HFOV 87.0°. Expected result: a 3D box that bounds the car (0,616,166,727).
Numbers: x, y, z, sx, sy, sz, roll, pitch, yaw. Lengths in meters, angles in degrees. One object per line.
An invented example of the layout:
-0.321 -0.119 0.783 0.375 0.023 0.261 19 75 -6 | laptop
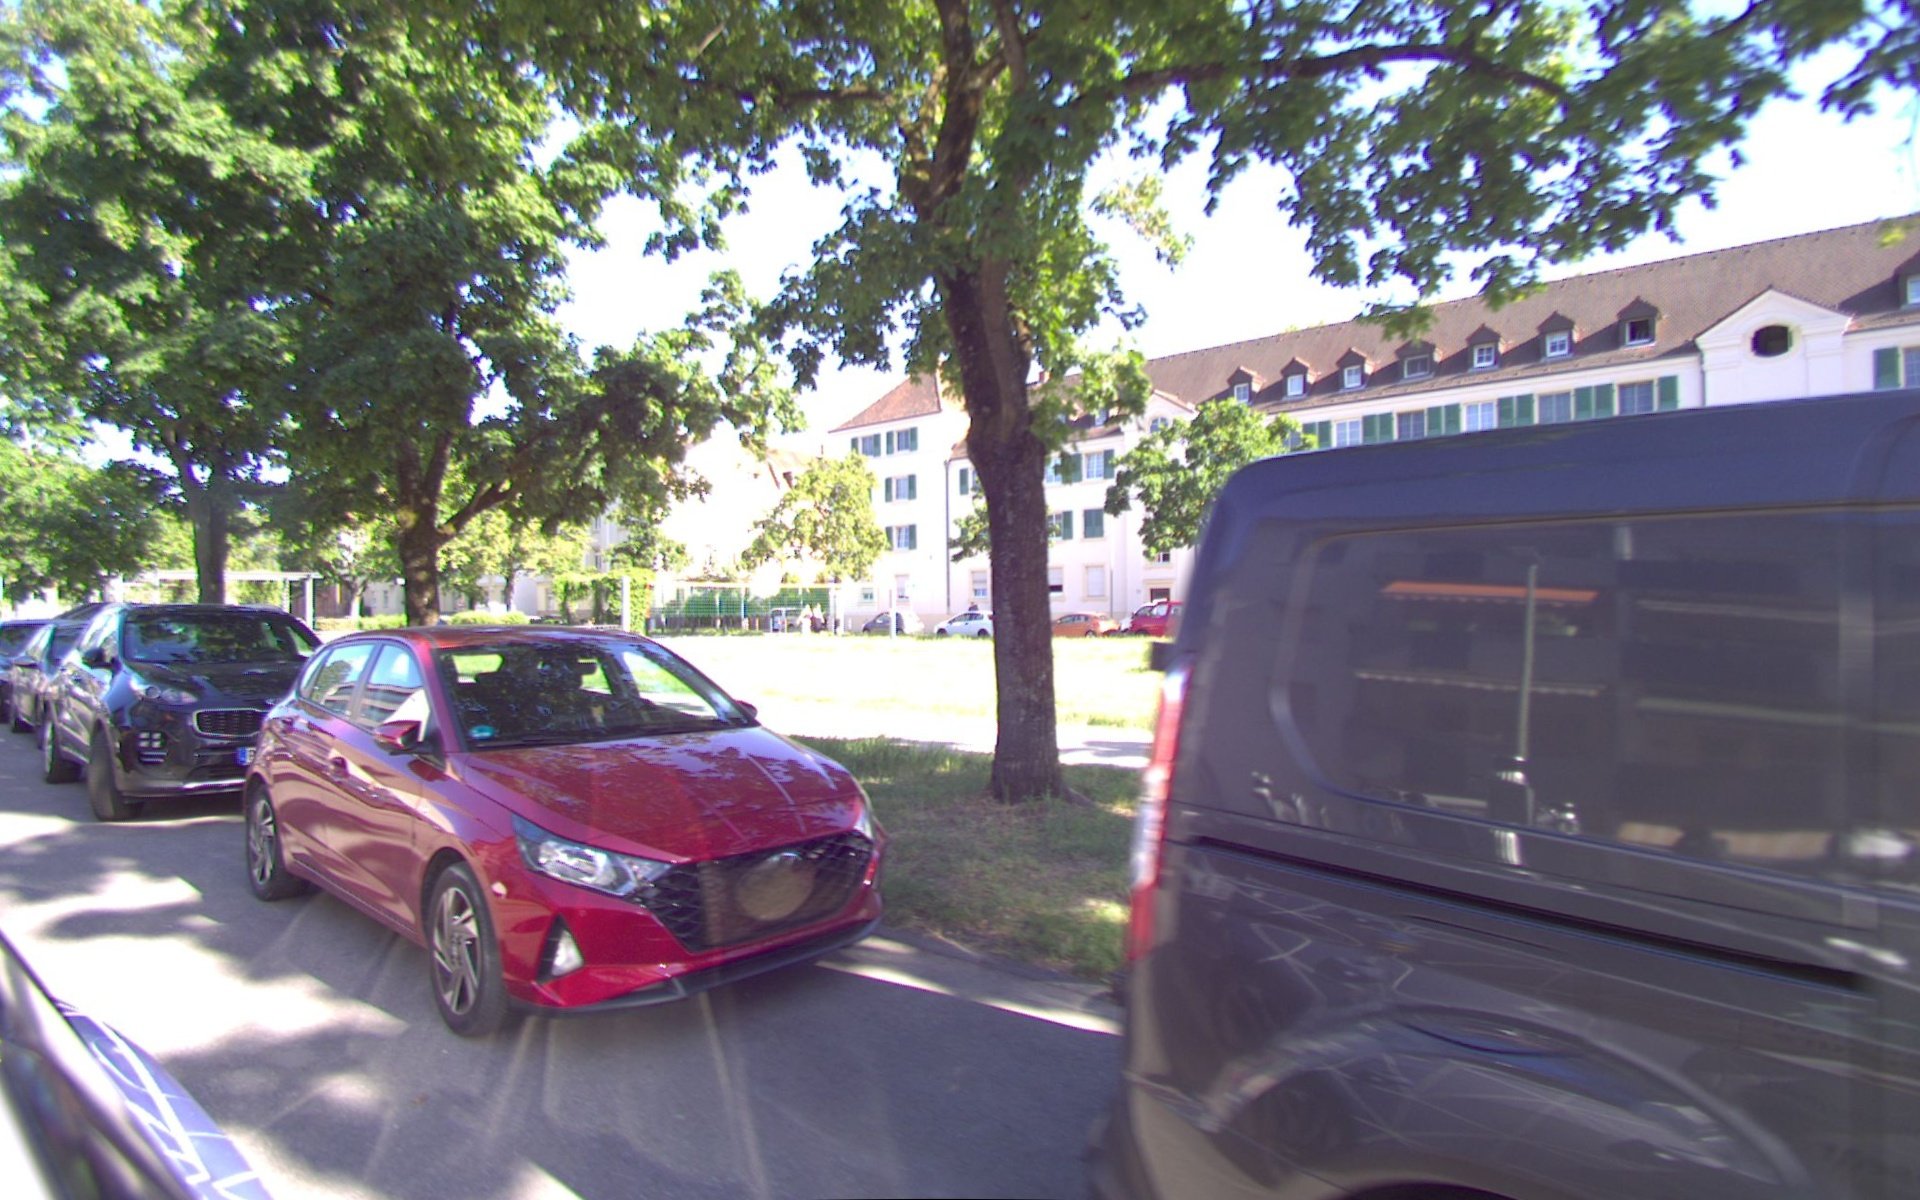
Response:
-14.725 1.060 16.233 5.151 1.528 1.974 -1 -2 39 | car

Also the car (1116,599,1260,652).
9.154 1.012 40.864 5.255 1.999 2.197 -1 -1 41 | car

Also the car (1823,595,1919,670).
29.622 0.959 30.589 5.252 2.233 2.506 -1 -1 39 | car

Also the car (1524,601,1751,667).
20.593 1.004 30.932 5.452 1.834 2.424 -1 -1 42 | car

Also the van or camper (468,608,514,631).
-42.964 1.733 92.711 4.372 2.029 2.244 -1 0 41 | van or camper

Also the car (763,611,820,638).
-12.630 1.824 76.019 2.043 1.970 3.762 -2 -1 42 | car

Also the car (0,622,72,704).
-19.111 1.174 19.798 4.963 1.463 1.817 -1 -1 39 | car

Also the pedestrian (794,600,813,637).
-7.395 0.875 47.862 0.750 1.698 0.537 -2 -1 43 | pedestrian

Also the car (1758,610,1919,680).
24.415 1.179 27.614 4.008 1.763 2.292 -1 -1 42 | car

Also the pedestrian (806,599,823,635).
-6.955 0.829 48.385 0.537 1.698 0.674 0 -1 -44 | pedestrian

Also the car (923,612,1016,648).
0.409 1.400 47.960 4.232 1.595 1.771 -1 -1 40 | car

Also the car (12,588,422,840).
-6.744 0.810 8.959 4.756 1.638 2.004 -1 -2 42 | car

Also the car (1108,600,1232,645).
9.760 1.046 47.329 5.251 1.999 2.199 -1 -1 39 | car

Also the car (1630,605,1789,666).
25.252 1.151 34.161 4.163 1.919 2.241 -1 -1 40 | car

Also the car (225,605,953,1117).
-2.052 0.775 4.806 4.086 1.439 1.522 -1 -1 42 | car

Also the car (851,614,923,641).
-3.715 1.385 51.365 3.512 1.343 1.633 -1 -1 40 | car

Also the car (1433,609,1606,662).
20.906 1.307 37.969 5.257 1.834 2.424 -1 -1 42 | car

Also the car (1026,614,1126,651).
5.776 1.620 50.706 4.639 1.777 1.974 -1 -1 39 | car

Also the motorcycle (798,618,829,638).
-9.884 1.914 68.097 2.143 1.315 0.807 -1 -1 39 | motorcycle

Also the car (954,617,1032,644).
1.741 1.616 54.138 3.997 1.366 1.751 -1 -1 40 | car

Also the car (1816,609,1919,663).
27.328 1.003 28.428 4.954 1.496 1.973 -1 -2 40 | car

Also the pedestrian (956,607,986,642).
0.630 1.410 58.010 1.161 1.978 1.328 -1 -1 35 | pedestrian

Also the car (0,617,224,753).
-10.962 0.945 12.845 3.802 1.429 1.860 0 -1 42 | car

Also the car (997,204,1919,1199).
2.539 0.503 0.818 4.989 1.798 1.845 -1 -1 41 | car
